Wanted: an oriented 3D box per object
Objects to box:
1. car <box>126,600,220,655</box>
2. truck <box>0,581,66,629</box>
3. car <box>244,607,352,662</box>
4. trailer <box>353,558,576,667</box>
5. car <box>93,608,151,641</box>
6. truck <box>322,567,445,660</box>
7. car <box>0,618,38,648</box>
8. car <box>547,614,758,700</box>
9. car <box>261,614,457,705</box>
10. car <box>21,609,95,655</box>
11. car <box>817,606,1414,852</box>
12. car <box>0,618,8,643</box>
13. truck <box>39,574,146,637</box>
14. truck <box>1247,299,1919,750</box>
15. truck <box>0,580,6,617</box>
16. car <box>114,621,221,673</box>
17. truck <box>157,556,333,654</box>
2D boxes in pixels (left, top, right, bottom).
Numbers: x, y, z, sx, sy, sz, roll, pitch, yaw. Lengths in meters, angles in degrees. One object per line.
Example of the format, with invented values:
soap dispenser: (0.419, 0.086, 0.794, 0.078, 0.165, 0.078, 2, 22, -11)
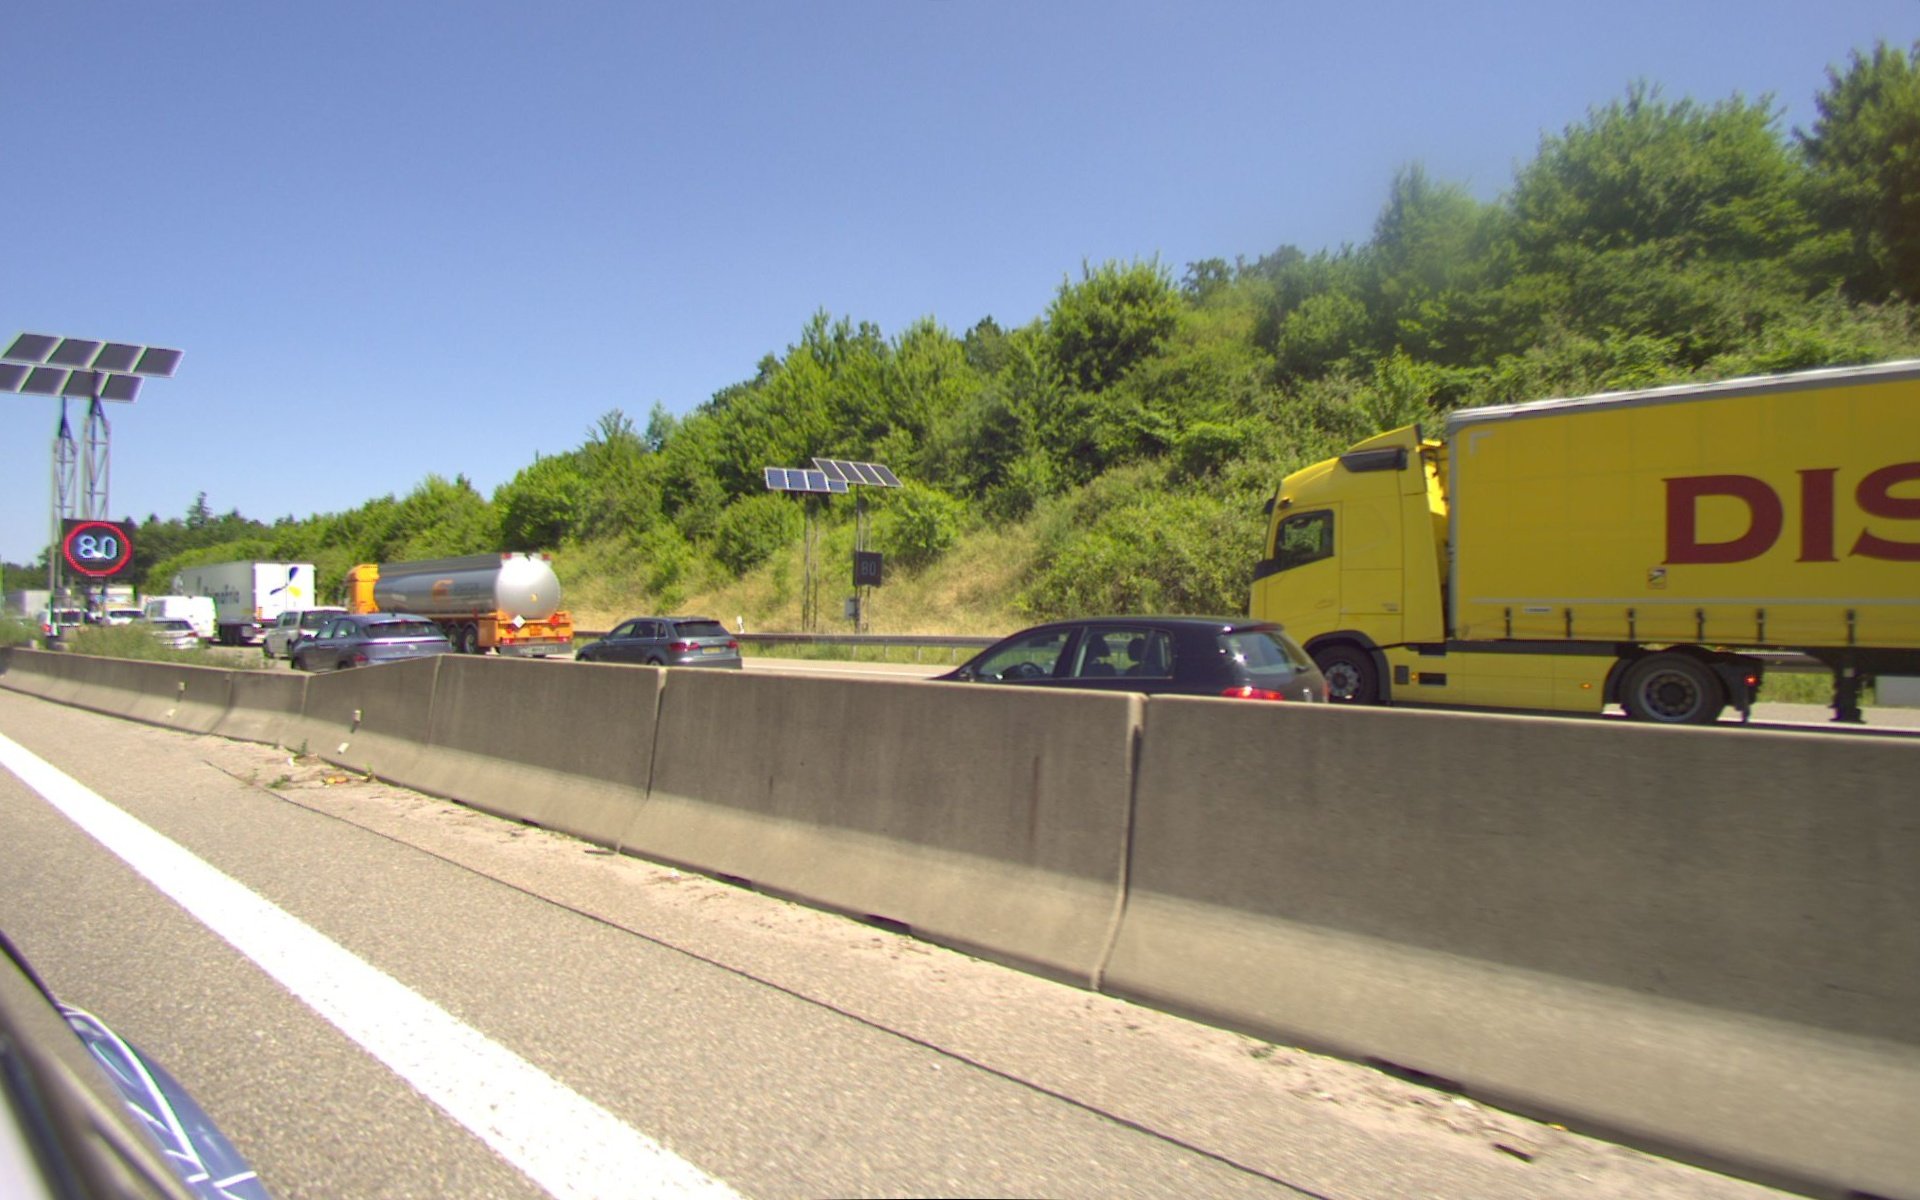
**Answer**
car: (-36.866, 1.217, 47.336, 6.536, 2.402, 2.162, 0, 0, 40)
truck: (-94.494, 0.502, 102.395, 19.443, 4.490, 3.658, 0, 0, 41)
car: (-23.017, 1.135, 35.139, 4.755, 1.776, 1.810, 0, 0, 40)
trailer: (-17.685, 0.460, 35.473, 11.687, 3.319, 2.552, -1, 0, 40)
car: (-52.681, 1.501, 63.563, 5.887, 1.955, 2.160, 0, 0, 44)
truck: (-22.568, 0.536, 39.562, 5.181, 3.391, 2.469, -2, -1, 39)
car: (-51.690, 1.763, 54.841, 5.394, 1.489, 1.808, 0, 0, 40)
car: (-6.372, 1.067, 20.703, 4.755, 1.508, 1.810, 0, 0, 40)
car: (-11.863, 1.069, 19.855, 4.755, 1.508, 1.810, 0, 0, 40)
car: (-41.853, 1.433, 46.921, 5.661, 1.992, 1.807, 0, 0, 40)
car: (1.078, 0.822, 8.568, 4.755, 1.508, 1.810, 0, 0, 40)
car: (-60.923, 1.867, 62.990, 4.967, 1.489, 1.808, 0, 0, 40)
truck: (-68.441, 0.397, 79.513, 19.443, 4.490, 3.658, 0, 0, 41)
truck: (11.918, -0.770, 10.449, 17.373, 4.490, 3.658, 0, 0, 41)
truck: (-122.324, -0.132, 125.760, 19.443, 4.490, 3.658, 0, 0, 41)
car: (-26.113, 1.476, 33.284, 4.755, 1.508, 1.810, 0, 0, 40)
truck: (-38.121, 0.250, 53.430, 17.373, 4.490, 3.658, 0, 0, 41)
